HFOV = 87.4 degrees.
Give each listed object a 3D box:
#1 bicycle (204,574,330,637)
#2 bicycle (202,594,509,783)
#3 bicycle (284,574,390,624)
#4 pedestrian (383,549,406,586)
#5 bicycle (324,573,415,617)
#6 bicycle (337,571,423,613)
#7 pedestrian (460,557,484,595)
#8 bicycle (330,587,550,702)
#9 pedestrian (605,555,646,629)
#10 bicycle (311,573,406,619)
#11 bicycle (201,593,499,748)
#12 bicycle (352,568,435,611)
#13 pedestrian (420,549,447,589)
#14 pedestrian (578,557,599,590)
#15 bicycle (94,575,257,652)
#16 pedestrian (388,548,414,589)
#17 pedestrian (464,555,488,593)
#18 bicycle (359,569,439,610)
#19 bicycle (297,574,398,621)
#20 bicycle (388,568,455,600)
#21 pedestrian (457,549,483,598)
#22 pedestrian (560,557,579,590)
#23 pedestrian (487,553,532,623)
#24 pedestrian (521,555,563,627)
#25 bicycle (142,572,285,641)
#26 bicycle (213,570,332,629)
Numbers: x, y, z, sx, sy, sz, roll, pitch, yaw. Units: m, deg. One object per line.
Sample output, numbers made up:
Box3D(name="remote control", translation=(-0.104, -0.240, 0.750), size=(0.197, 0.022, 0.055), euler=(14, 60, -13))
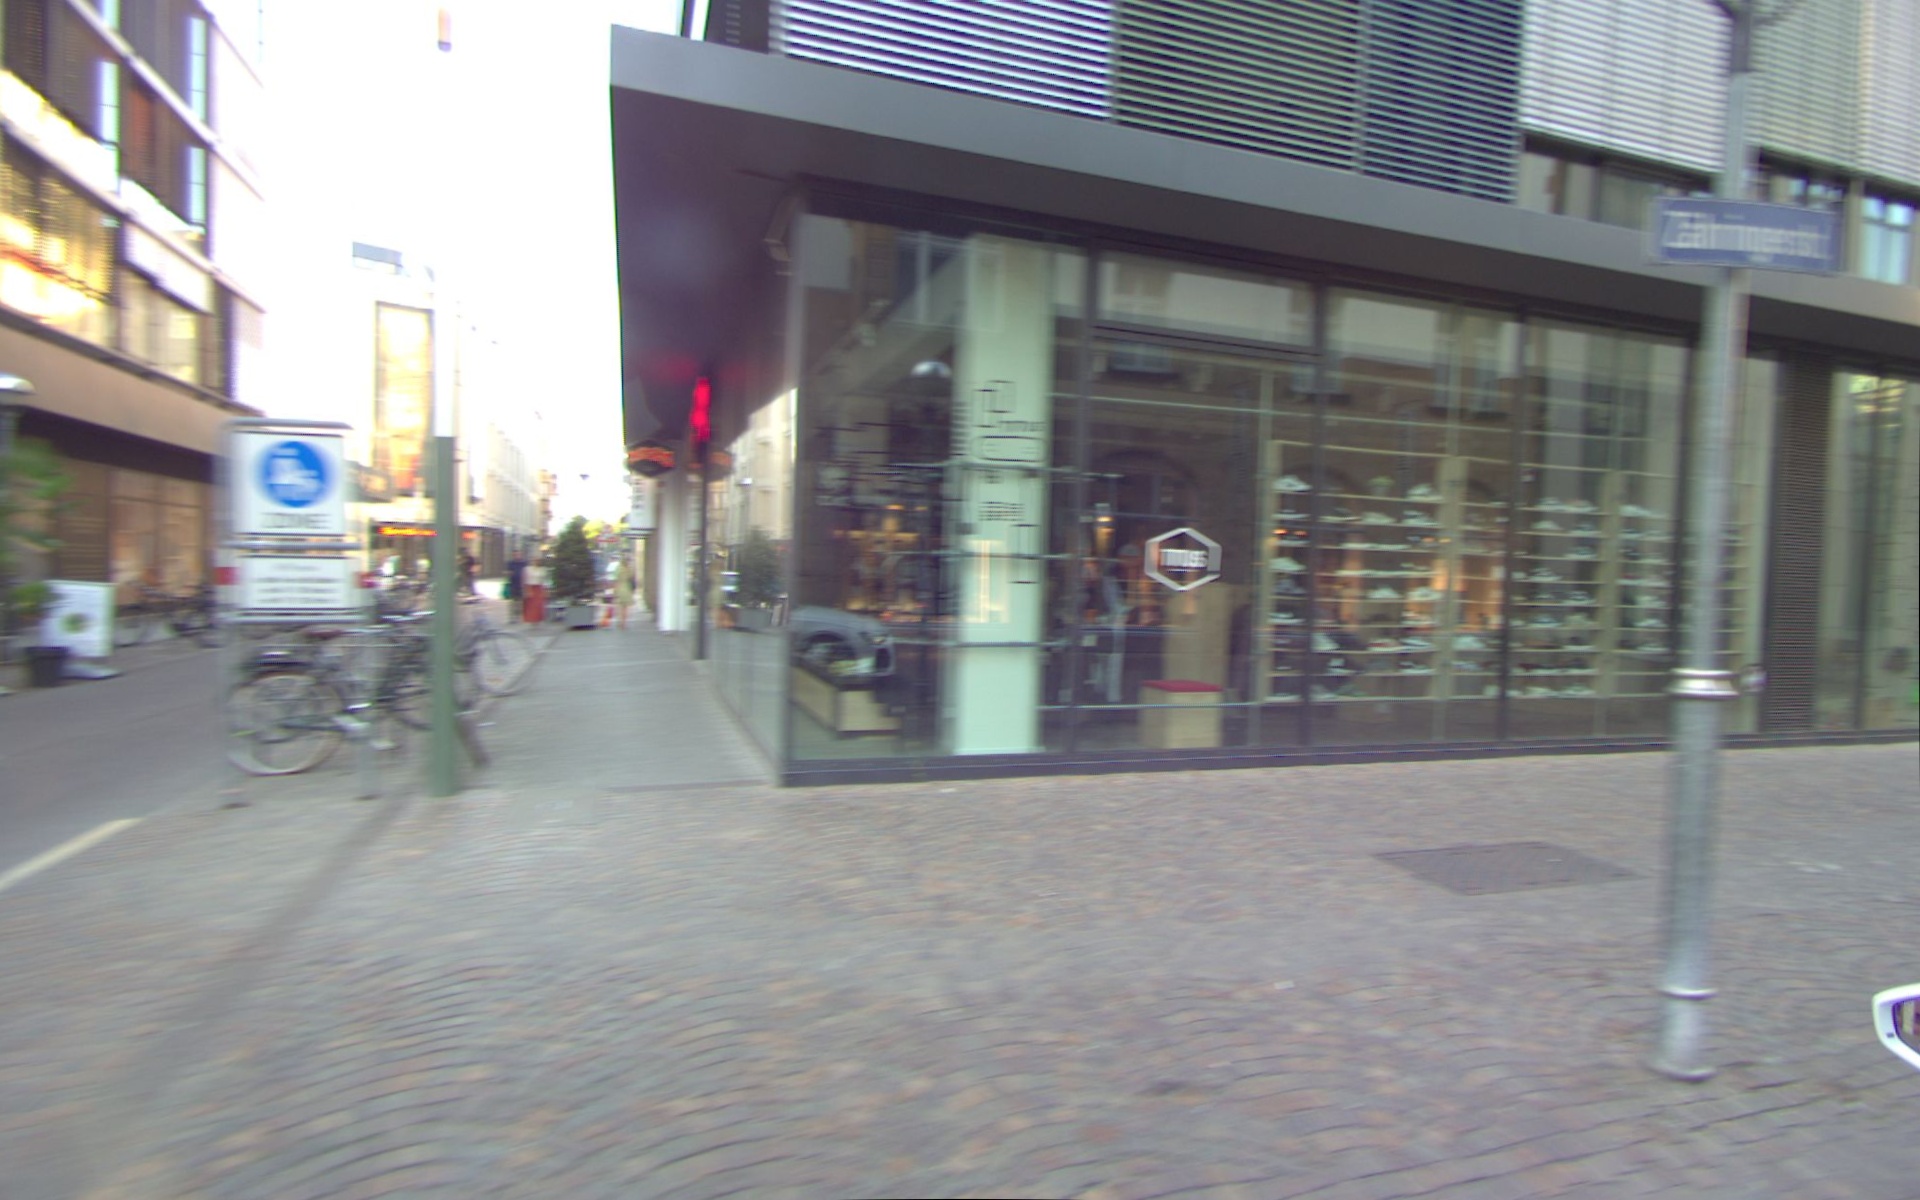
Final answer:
Box3D(name="bicycle", translation=(-13.462, 0.110, 19.563), size=(1.924, 1.089, 0.465), euler=(4, 1, -20))
Box3D(name="bicycle", translation=(-3.995, 0.552, 6.768), size=(1.676, 1.152, 0.465), euler=(-1, 3, -20))
Box3D(name="bicycle", translation=(-14.643, -0.022, 23.662), size=(2.023, 1.030, 0.465), euler=(4, 1, -20))
Box3D(name="pedestrian", translation=(-29.510, -1.714, 52.437), size=(0.893, 1.884, 0.832), euler=(1, 2, -19))
Box3D(name="bicycle", translation=(-16.060, -0.141, 27.354), size=(2.023, 1.063, 0.465), euler=(4, 1, -20))
Box3D(name="bicycle", translation=(-16.495, -0.216, 28.608), size=(2.023, 1.063, 0.465), euler=(4, 1, -20))
Box3D(name="pedestrian", translation=(-22.129, -1.092, 45.530), size=(0.894, 1.683, 0.789), euler=(1, 2, -21))
Box3D(name="bicycle", translation=(-5.484, 0.444, 10.726), size=(2.009, 1.136, 0.465), euler=(-1, 3, -20))
Box3D(name="pedestrian", translation=(-7.341, -0.185, 22.066), size=(0.787, 1.587, 0.856), euler=(1, 2, -16))
Box3D(name="bicycle", translation=(-15.635, -0.106, 26.147), size=(2.023, 1.063, 0.465), euler=(4, 1, -20))
Box3D(name="bicycle", translation=(-4.867, 0.530, 8.157), size=(1.985, 1.136, 0.465), euler=(-1, 3, -20))
Box3D(name="bicycle", translation=(-16.741, -0.308, 29.728), size=(2.023, 1.110, 0.465), euler=(4, 1, -20))
Box3D(name="pedestrian", translation=(-25.142, -1.490, 47.991), size=(1.012, 1.884, 0.902), euler=(1, 2, -19))
Box3D(name="pedestrian", translation=(-20.403, -1.439, 55.175), size=(0.995, 1.757, 0.978), euler=(1, 2, -14))
Box3D(name="bicycle", translation=(-12.362, 0.213, 15.880), size=(1.924, 1.089, 0.465), euler=(4, 1, -20))
Box3D(name="pedestrian", translation=(-26.222, -1.498, 47.148), size=(0.893, 1.884, 0.832), euler=(1, 2, -19))
Box3D(name="pedestrian", translation=(-21.612, -1.164, 44.835), size=(0.894, 1.683, 0.789), euler=(1, 2, -21))
Box3D(name="bicycle", translation=(-17.039, -0.314, 30.550), size=(2.023, 1.110, 0.465), euler=(4, 1, -20))
Box3D(name="bicycle", translation=(-15.079, -0.054, 24.781), size=(2.023, 1.030, 0.465), euler=(4, 1, -20))
Box3D(name="bicycle", translation=(-19.401, -0.581, 36.195), size=(2.023, 1.026, 0.465), euler=(4, 1, -20))
Box3D(name="pedestrian", translation=(-19.493, -1.052, 39.989), size=(0.823, 1.884, 0.903), euler=(1, 2, -20))
Box3D(name="pedestrian", translation=(-21.498, -1.462, 55.277), size=(0.850, 1.757, 0.931), euler=(1, 2, -14))
Box3D(name="pedestrian", translation=(-11.224, -0.300, 25.060), size=(0.888, 1.683, 0.926), euler=(1, 2, -18))
Box3D(name="pedestrian", translation=(-9.429, -0.212, 22.677), size=(0.787, 1.587, 0.855), euler=(1, 2, -18))
Box3D(name="bicycle", translation=(-13.181, 0.116, 17.790), size=(1.924, 1.089, 0.465), euler=(4, 1, -20))
Box3D(name="bicycle", translation=(-14.133, -0.004, 20.699), size=(1.924, 1.089, 0.465), euler=(4, 1, -20))
